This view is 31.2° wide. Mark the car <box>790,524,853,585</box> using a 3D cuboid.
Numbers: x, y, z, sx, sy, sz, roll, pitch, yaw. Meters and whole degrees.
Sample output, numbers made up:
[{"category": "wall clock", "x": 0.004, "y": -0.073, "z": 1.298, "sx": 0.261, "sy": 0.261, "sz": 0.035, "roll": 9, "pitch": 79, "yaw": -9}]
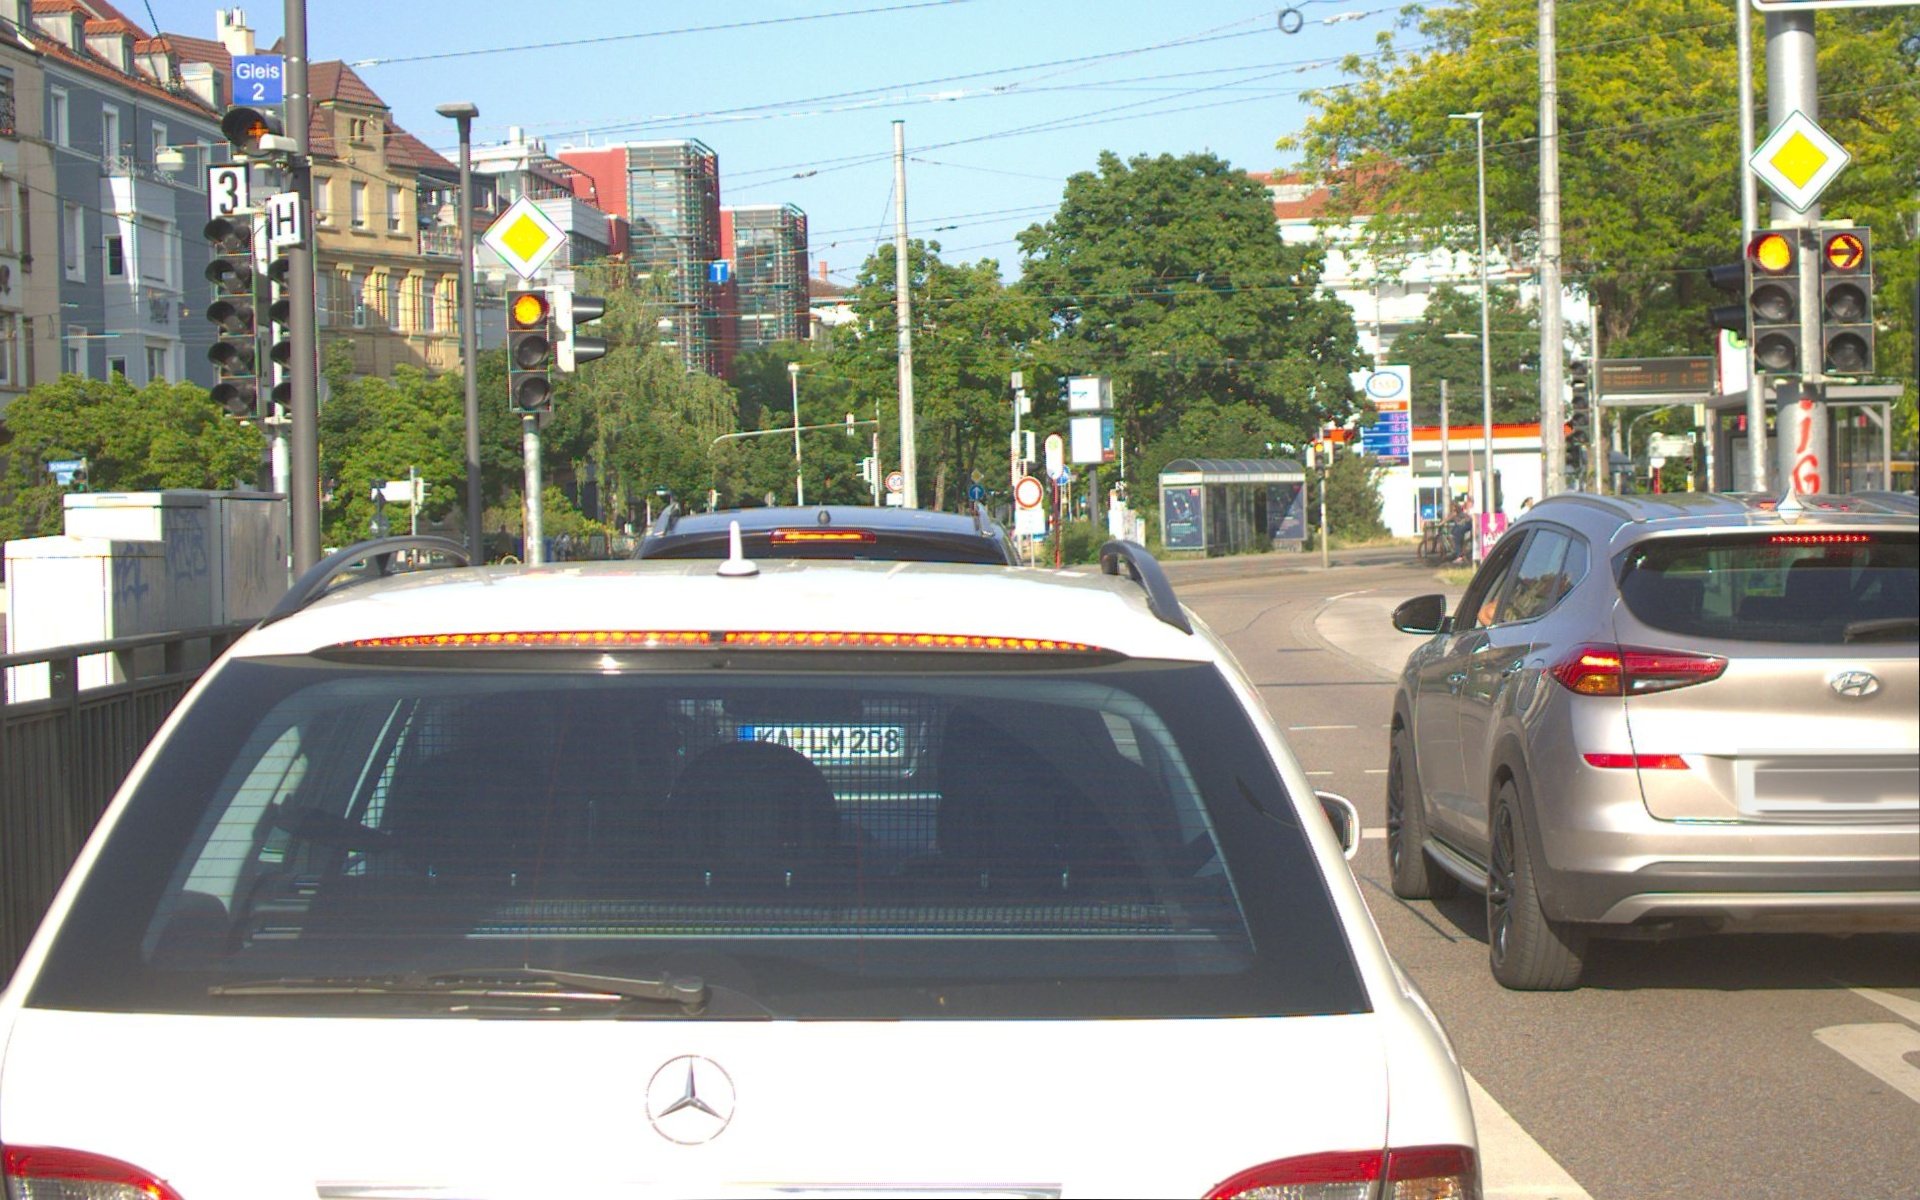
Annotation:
[{"category": "car", "x": -5.392, "y": -1.789, "z": 134.391, "sx": 2.177, "sy": 2.231, "sz": 5.253, "roll": -2, "pitch": 2, "yaw": 0}]

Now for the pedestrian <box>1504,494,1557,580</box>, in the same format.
[{"category": "pedestrian", "x": 13.529, "y": -1.488, "z": 81.537, "sx": 0.997, "sy": 2.007, "sz": 0.827, "roll": -1, "pitch": 1, "yaw": 27}]

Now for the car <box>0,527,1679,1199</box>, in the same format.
[{"category": "car", "x": -0.278, "y": 0.643, "z": 5.080, "sx": 1.835, "sy": 1.496, "sz": 3.815, "roll": 0, "pitch": 1, "yaw": -1}]

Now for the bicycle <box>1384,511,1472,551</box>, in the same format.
[{"category": "bicycle", "x": 11.679, "y": -1.724, "z": 85.714, "sx": 2.019, "sy": 0.943, "sz": 0.878, "roll": -1, "pitch": 1, "yaw": 19}]

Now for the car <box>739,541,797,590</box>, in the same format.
[{"category": "car", "x": -6.608, "y": -1.206, "z": 118.602, "sx": 1.676, "sy": 1.520, "sz": 4.125, "roll": -2, "pitch": 2, "yaw": 0}]

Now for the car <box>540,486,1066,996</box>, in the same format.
[{"category": "car", "x": -0.514, "y": 0.401, "z": 12.666, "sx": 1.641, "sy": 1.594, "sz": 3.815, "roll": 0, "pitch": 1, "yaw": -1}]

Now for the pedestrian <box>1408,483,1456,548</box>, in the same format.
[{"category": "pedestrian", "x": 11.774, "y": -2.105, "z": 85.677, "sx": 1.007, "sy": 1.586, "sz": 0.865, "roll": -1, "pitch": 1, "yaw": 19}]

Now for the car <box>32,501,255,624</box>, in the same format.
[{"category": "car", "x": -14.171, "y": -0.690, "z": 60.029, "sx": 2.146, "sy": 2.007, "sz": 5.386, "roll": -1, "pitch": 1, "yaw": 5}]

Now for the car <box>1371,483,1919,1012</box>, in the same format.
[{"category": "car", "x": 2.634, "y": 0.403, "z": 12.260, "sx": 1.835, "sy": 1.594, "sz": 3.815, "roll": 0, "pitch": 1, "yaw": -1}]
